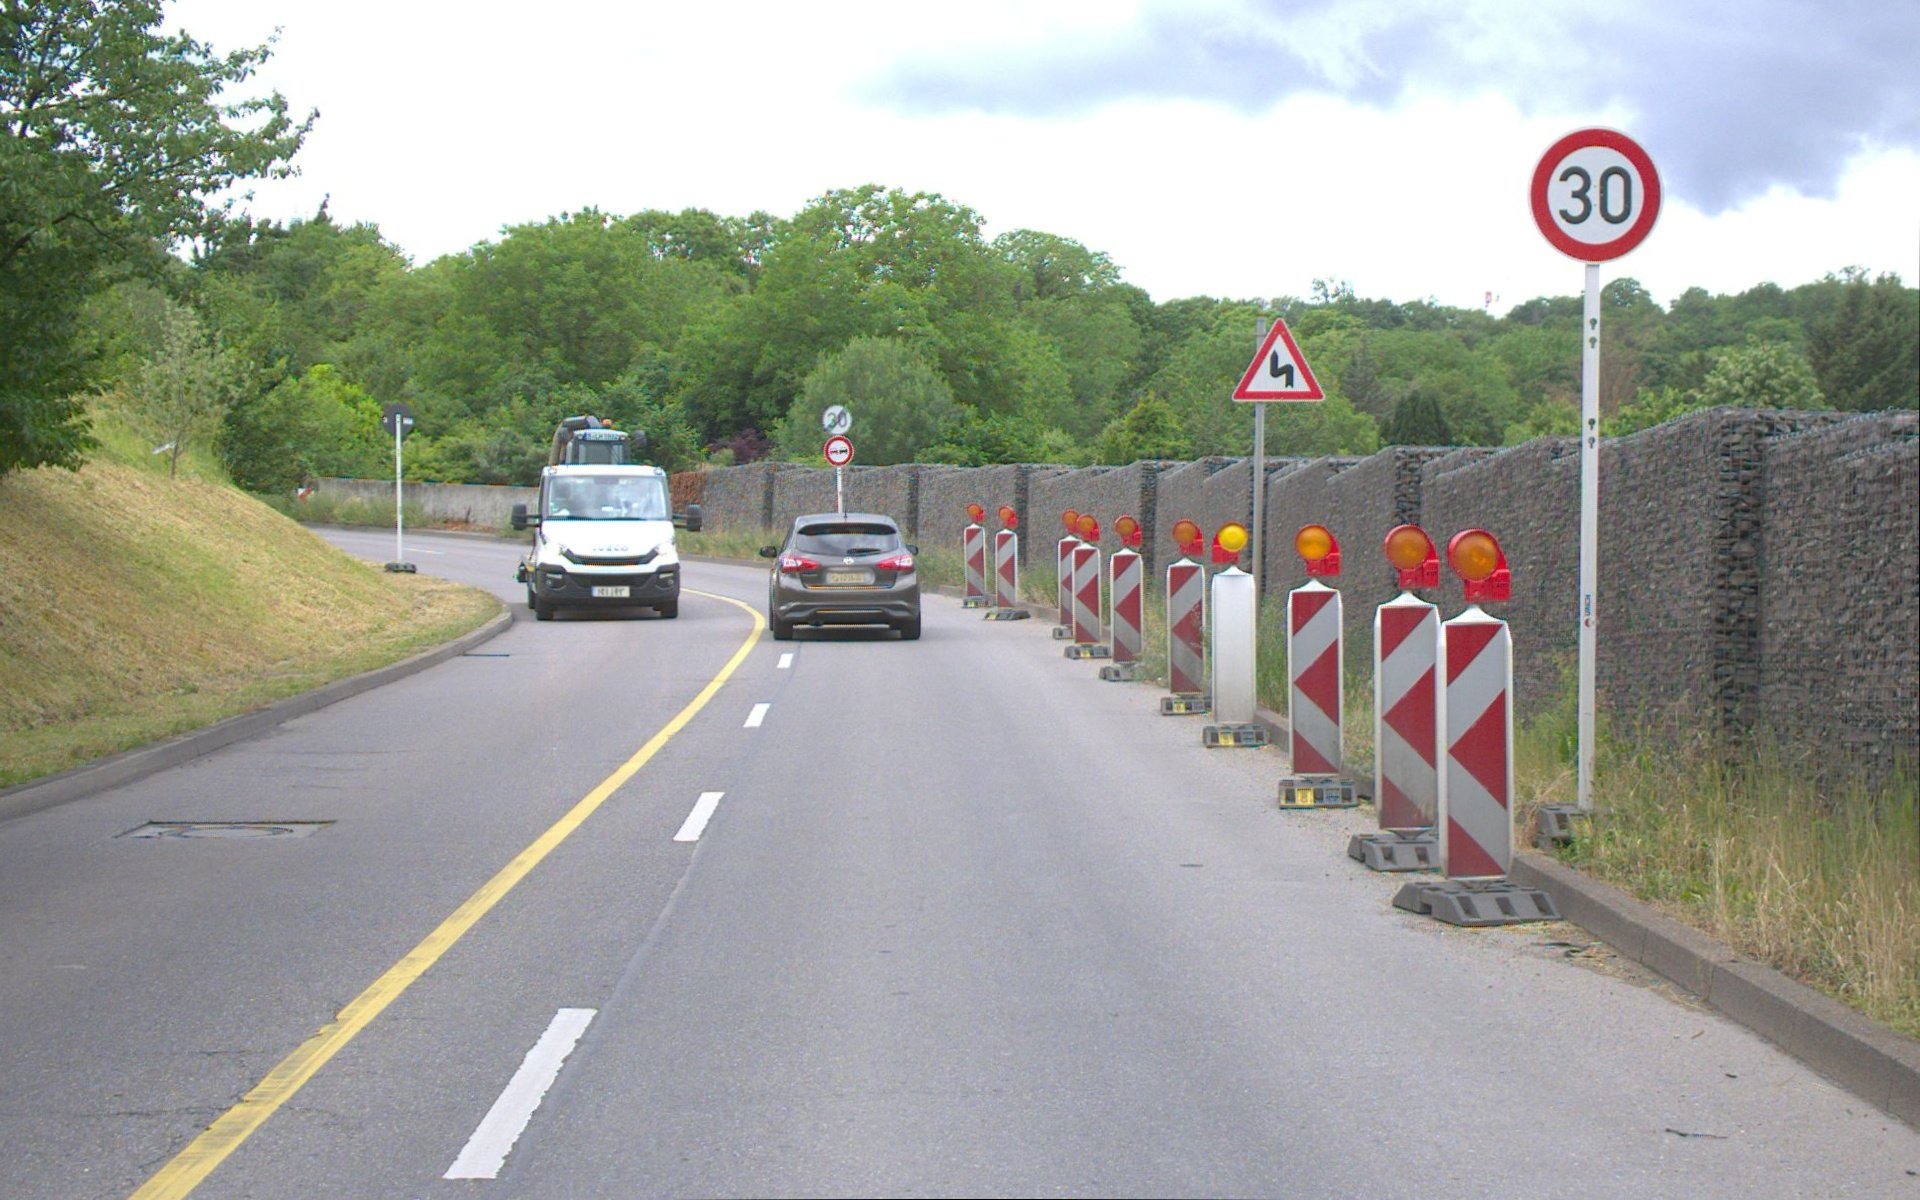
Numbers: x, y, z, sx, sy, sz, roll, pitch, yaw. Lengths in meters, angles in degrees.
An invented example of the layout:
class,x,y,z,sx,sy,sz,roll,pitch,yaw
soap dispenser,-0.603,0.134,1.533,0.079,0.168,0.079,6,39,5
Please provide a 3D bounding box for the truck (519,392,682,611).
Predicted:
class,x,y,z,sx,sy,sz,roll,pitch,yaw
truck,-5.309,-1.469,51.174,2.214,3.004,7.741,0,2,-5

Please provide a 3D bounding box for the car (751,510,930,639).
class,x,y,z,sx,sy,sz,roll,pitch,yaw
car,-1.526,-0.344,42.485,1.839,1.478,4.001,-1,1,-7
